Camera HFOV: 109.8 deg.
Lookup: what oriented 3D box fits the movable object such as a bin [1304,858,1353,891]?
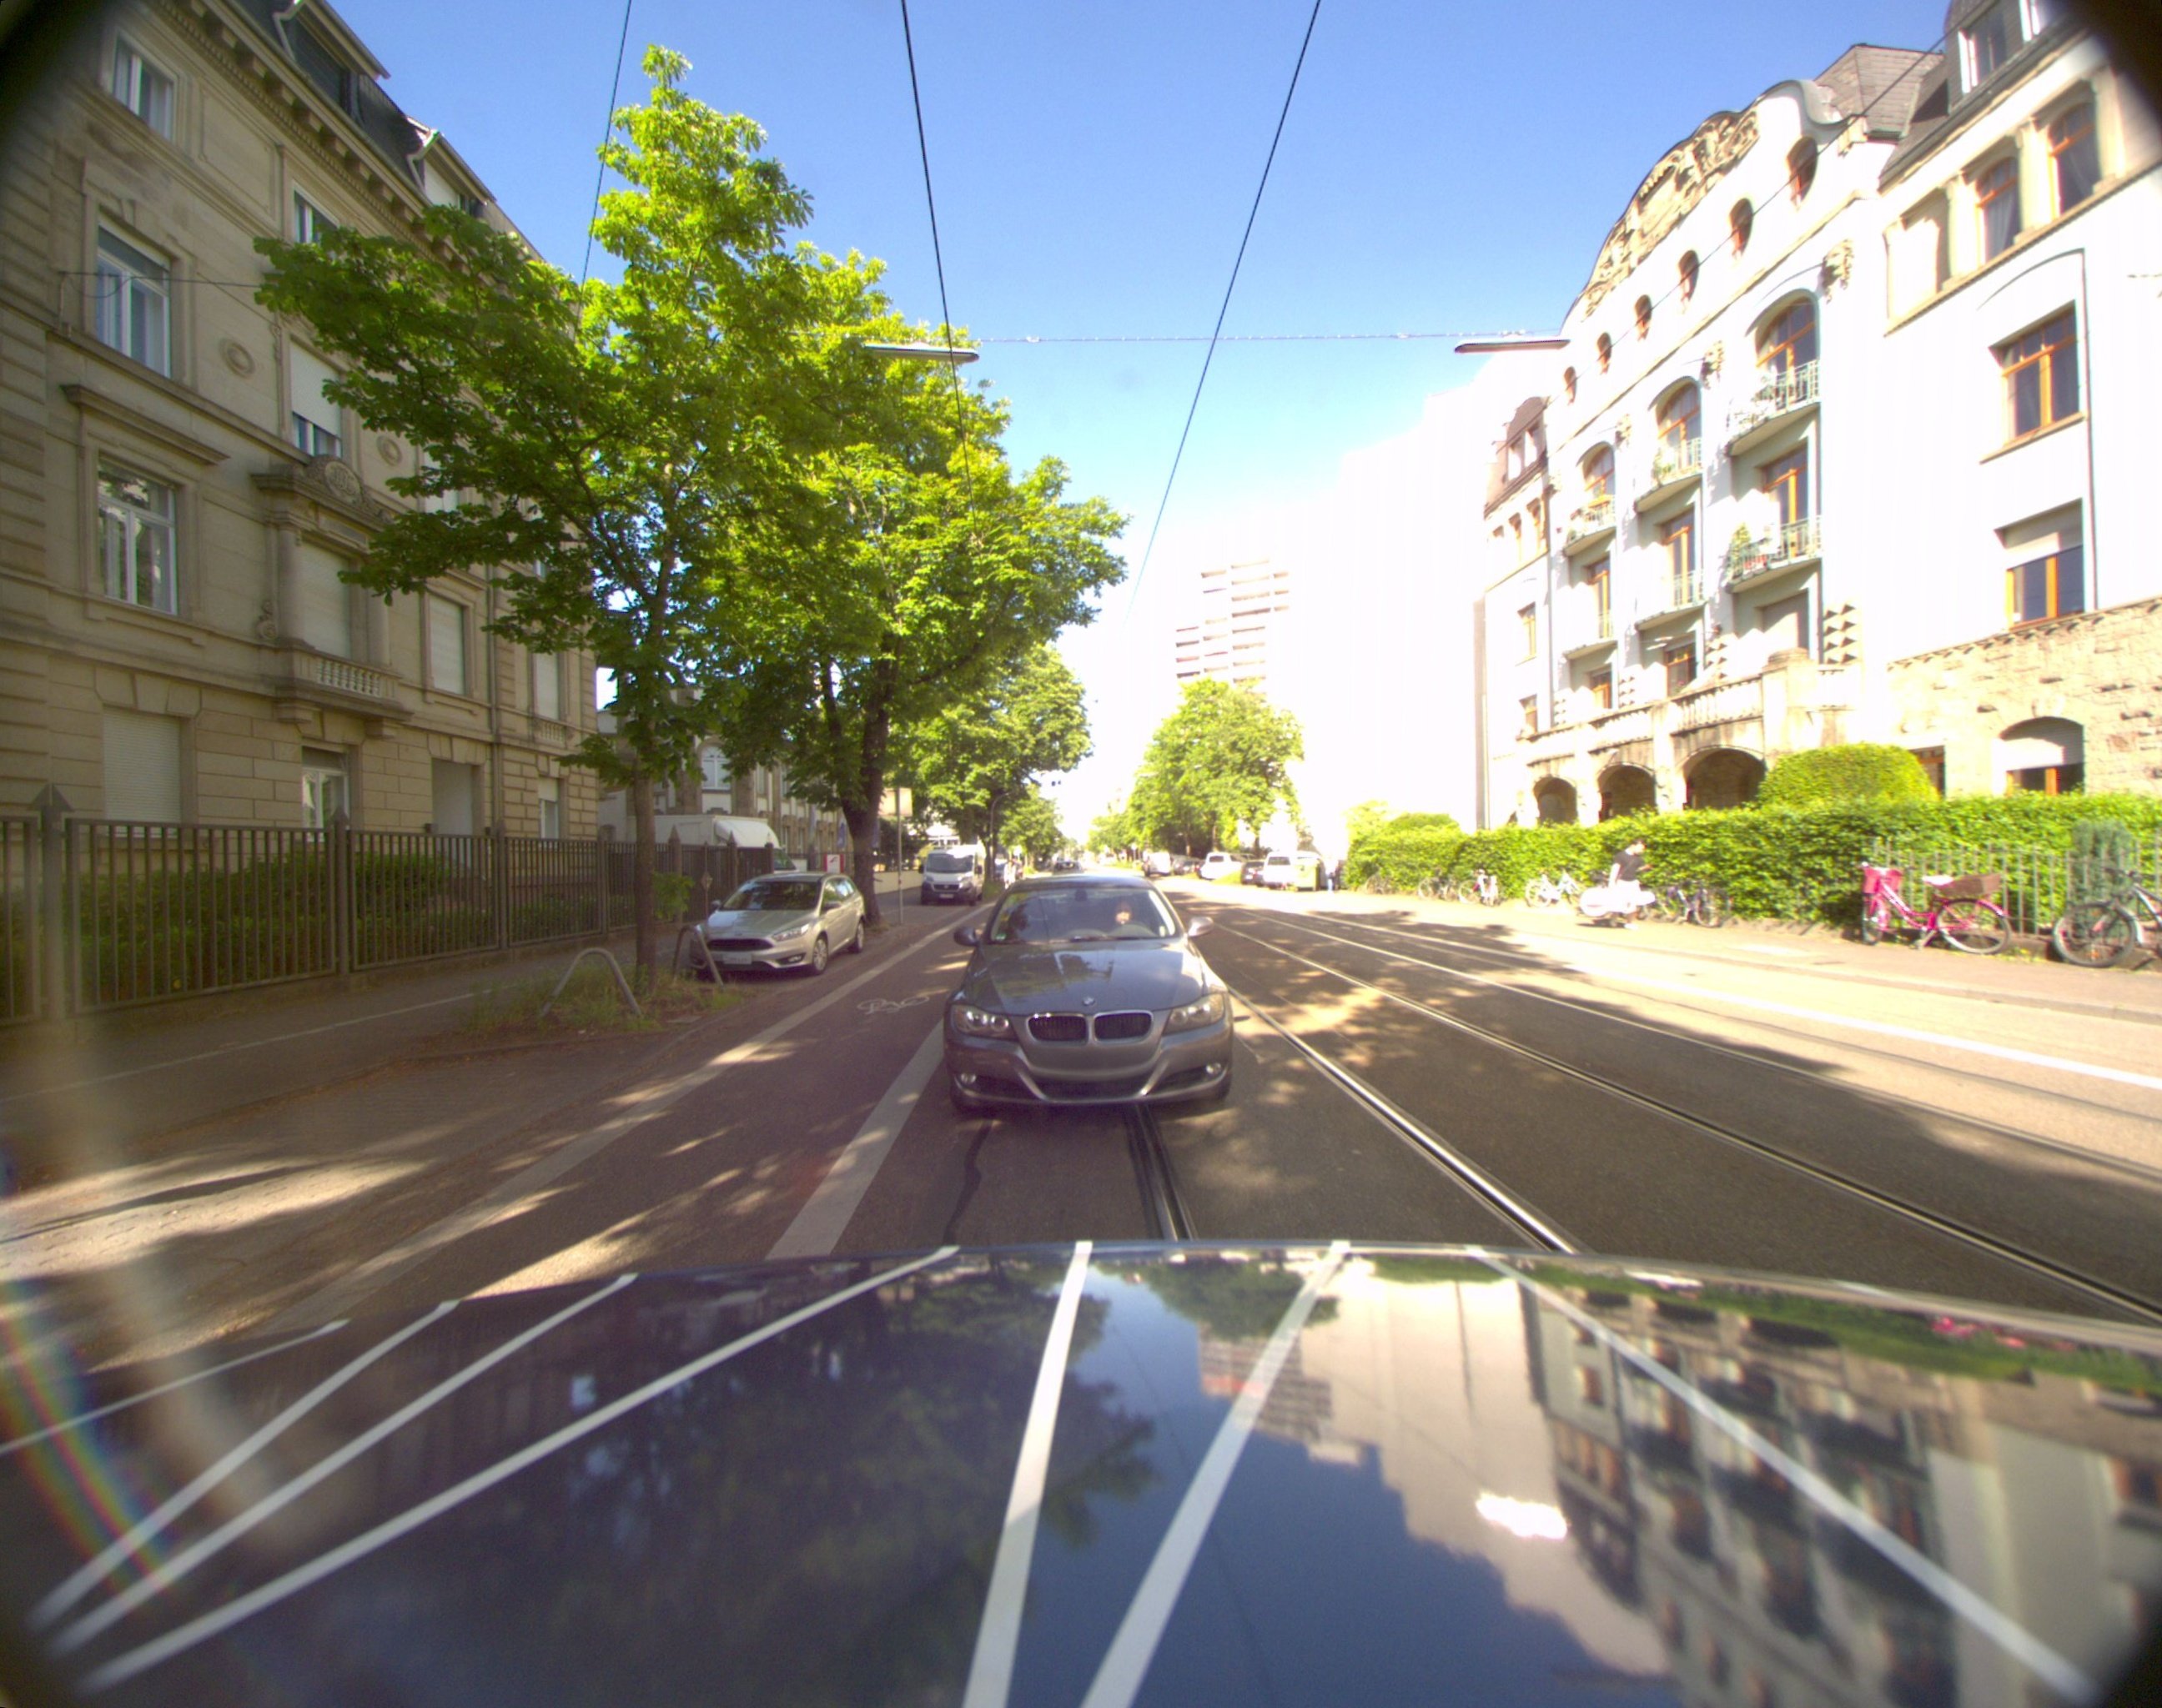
[{"bbox_3d":[11.115,0.902,34.211,1.501,1.309,2.096,-2,1,1],"label":"movable object such as a bin"}]

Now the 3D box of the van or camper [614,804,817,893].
[{"bbox_3d":[-12.166,-0.136,25.188,6.721,2.612,2.126,-2,1,24],"label":"van or camper"}]

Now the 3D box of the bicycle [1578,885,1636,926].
[{"bbox_3d":[11.010,1.059,15.932,0.339,0.757,1.263,-2,1,1],"label":"bicycle"}]

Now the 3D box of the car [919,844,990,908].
[{"bbox_3d":[-4.978,0.774,30.755,2.132,2.329,5.803,0,1,-3],"label":"car"}]

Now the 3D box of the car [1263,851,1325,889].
[{"bbox_3d":[10.296,0.774,36.647,3.194,1.763,1.456,1,-2,-45],"label":"car"}]

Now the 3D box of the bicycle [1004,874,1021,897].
[{"bbox_3d":[-3.193,1.467,35.738,0.535,0.917,2.057,-2,1,1],"label":"bicycle"}]

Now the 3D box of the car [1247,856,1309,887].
[{"bbox_3d":[10.267,0.893,39.658,2.757,1.427,1.458,-2,1,-16],"label":"car"}]

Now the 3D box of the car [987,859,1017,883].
[{"bbox_3d":[-5.535,1.187,53.761,1.866,1.541,4.101,-2,1,-3],"label":"car"}]

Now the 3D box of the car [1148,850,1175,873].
[{"bbox_3d":[7.023,0.623,65.875,1.997,1.893,4.003,-2,1,11],"label":"car"}]

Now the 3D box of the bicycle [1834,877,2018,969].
[{"bbox_3d":[11.010,0.855,9.999,0.405,1.018,1.816,-2,1,1],"label":"bicycle"}]

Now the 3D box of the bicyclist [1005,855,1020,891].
[{"bbox_3d":[-3.218,0.893,35.663,0.532,1.660,0.878,-2,1,1],"label":"bicyclist"}]

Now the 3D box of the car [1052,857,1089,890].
[{"bbox_3d":[-0.502,1.004,40.403,1.828,1.559,3.999,-2,1,1],"label":"car"}]

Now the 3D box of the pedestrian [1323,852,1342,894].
[{"bbox_3d":[9.875,0.735,29.828,0.475,1.619,0.659,-2,1,1],"label":"pedestrian"}]

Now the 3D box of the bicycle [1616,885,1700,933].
[{"bbox_3d":[10.915,1.021,14.427,0.405,0.757,1.581,-2,1,1],"label":"bicycle"}]

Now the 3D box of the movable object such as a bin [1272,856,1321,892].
[{"bbox_3d":[9.401,0.847,33.242,1.512,1.424,2.096,-2,1,1],"label":"movable object such as a bin"}]

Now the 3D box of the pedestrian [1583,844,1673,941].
[{"bbox_3d":[9.866,0.678,13.742,0.869,1.619,0.870,-6,1,1],"label":"pedestrian"}]

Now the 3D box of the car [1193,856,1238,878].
[{"bbox_3d":[9.472,0.910,53.544,2.757,1.427,1.458,-2,1,-16],"label":"car"}]

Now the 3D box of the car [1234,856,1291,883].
[{"bbox_3d":[10.263,0.855,43.025,2.757,1.427,1.458,-2,1,-16],"label":"car"}]

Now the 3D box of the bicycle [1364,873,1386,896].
[{"bbox_3d":[10.631,1.099,27.456,0.297,0.757,1.263,-2,1,1],"label":"bicycle"}]

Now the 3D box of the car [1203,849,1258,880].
[{"bbox_3d":[9.899,0.683,50.115,3.450,1.860,1.918,-3,1,-44],"label":"car"}]

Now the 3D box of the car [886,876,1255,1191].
[{"bbox_3d":[-0.027,1.001,5.966,1.869,1.426,3.999,-2,1,1],"label":"car"}]

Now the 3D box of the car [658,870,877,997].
[{"bbox_3d":[-4.706,1.093,12.197,1.877,1.534,4.364,0,1,-3],"label":"car"}]

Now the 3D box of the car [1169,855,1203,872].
[{"bbox_3d":[9.669,0.853,69.898,2.757,1.417,1.226,-2,1,-16],"label":"car"}]

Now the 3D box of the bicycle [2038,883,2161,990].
[{"bbox_3d":[11.074,0.857,7.730,0.405,1.018,1.816,-2,1,1],"label":"bicycle"}]

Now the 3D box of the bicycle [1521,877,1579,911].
[{"bbox_3d":[11.790,1.002,19.104,1.262,0.789,0.297,-2,1,1],"label":"bicycle"}]

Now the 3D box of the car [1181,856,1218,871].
[{"bbox_3d":[9.765,0.804,62.697,2.757,1.083,1.226,-2,1,-16],"label":"car"}]

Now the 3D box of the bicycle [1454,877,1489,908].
[{"bbox_3d":[10.741,1.057,20.912,0.318,0.757,1.263,-2,1,1],"label":"bicycle"}]

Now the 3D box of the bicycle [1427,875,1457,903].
[{"bbox_3d":[10.763,1.036,22.703,0.297,0.757,1.263,-2,1,1],"label":"bicycle"}]
